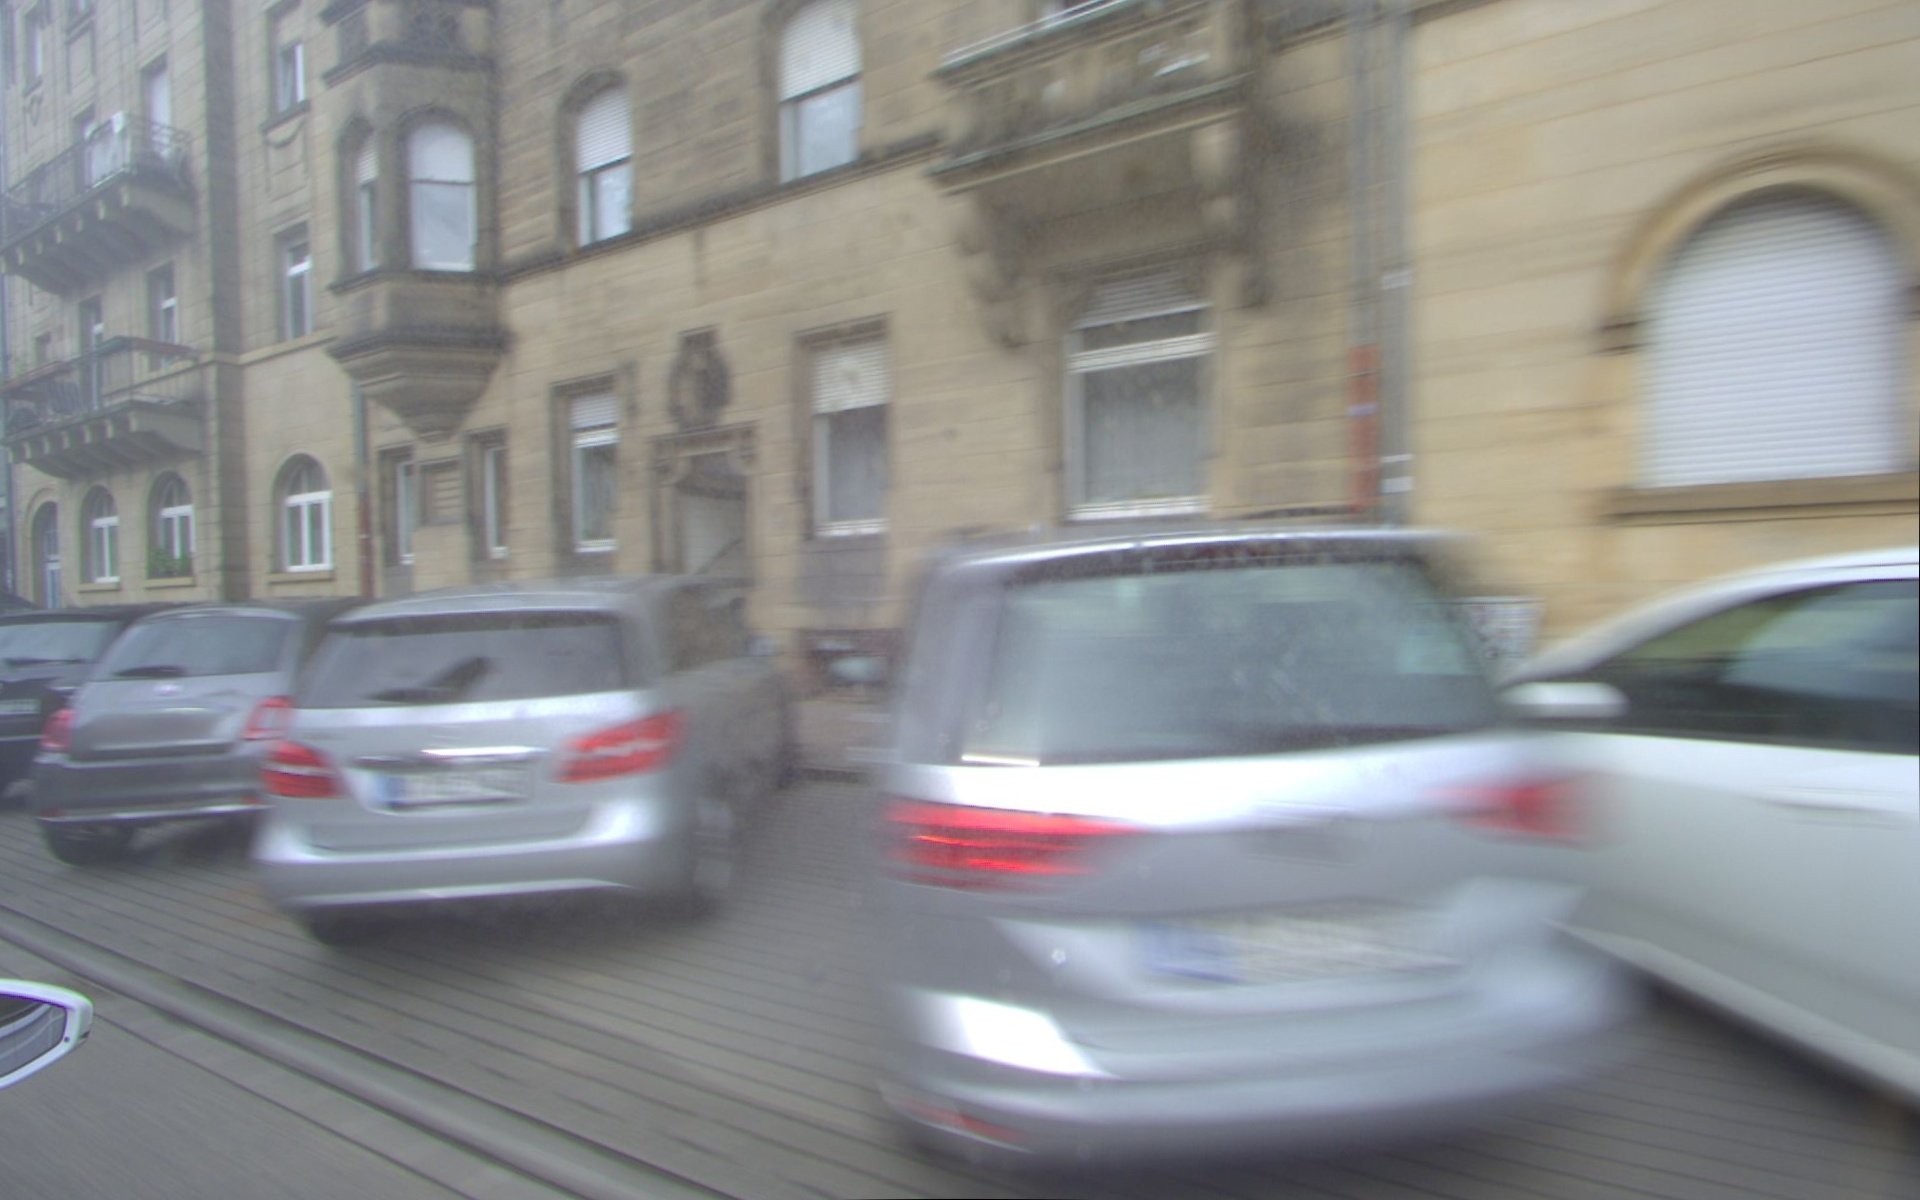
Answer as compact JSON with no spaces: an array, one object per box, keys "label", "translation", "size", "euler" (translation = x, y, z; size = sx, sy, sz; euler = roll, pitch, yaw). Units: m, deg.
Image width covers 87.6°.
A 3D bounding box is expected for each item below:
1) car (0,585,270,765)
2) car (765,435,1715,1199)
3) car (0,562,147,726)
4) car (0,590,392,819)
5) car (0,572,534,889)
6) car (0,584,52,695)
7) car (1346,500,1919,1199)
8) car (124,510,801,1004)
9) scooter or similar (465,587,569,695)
[{"label":"car","translation":[-9.821,0.688,10.944],"size":[1.993,1.474,4.065],"euler":[-2,3,-7]},{"label":"car","translation":[0.511,0.522,4.109],"size":[1.879,1.705,4.223],"euler":[-2,1,-2]},{"label":"car","translation":[-12.354,0.523,12.180],"size":[1.844,1.933,4.276],"euler":[-1,3,-9]},{"label":"car","translation":[-7.161,0.719,9.125],"size":[1.816,1.573,4.462],"euler":[-1,1,-7]},{"label":"car","translation":[-4.816,0.633,7.538],"size":[1.714,1.596,4.460],"euler":[-1,3,-7]},{"label":"car","translation":[-15.012,0.660,13.753],"size":[1.732,1.624,3.995],"euler":[-1,3,-8]},{"label":"car","translation":[2.833,0.496,2.628],"size":[1.814,1.529,3.583],"euler":[-3,3,-9]},{"label":"car","translation":[-2.145,0.502,6.004],"size":[1.899,1.708,4.749],"euler":[-2,2,-4]},{"label":"scooter or similar","translation":[-5.272,0.493,11.909],"size":[1.201,1.204,0.432],"euler":[-2,5,33]}]
